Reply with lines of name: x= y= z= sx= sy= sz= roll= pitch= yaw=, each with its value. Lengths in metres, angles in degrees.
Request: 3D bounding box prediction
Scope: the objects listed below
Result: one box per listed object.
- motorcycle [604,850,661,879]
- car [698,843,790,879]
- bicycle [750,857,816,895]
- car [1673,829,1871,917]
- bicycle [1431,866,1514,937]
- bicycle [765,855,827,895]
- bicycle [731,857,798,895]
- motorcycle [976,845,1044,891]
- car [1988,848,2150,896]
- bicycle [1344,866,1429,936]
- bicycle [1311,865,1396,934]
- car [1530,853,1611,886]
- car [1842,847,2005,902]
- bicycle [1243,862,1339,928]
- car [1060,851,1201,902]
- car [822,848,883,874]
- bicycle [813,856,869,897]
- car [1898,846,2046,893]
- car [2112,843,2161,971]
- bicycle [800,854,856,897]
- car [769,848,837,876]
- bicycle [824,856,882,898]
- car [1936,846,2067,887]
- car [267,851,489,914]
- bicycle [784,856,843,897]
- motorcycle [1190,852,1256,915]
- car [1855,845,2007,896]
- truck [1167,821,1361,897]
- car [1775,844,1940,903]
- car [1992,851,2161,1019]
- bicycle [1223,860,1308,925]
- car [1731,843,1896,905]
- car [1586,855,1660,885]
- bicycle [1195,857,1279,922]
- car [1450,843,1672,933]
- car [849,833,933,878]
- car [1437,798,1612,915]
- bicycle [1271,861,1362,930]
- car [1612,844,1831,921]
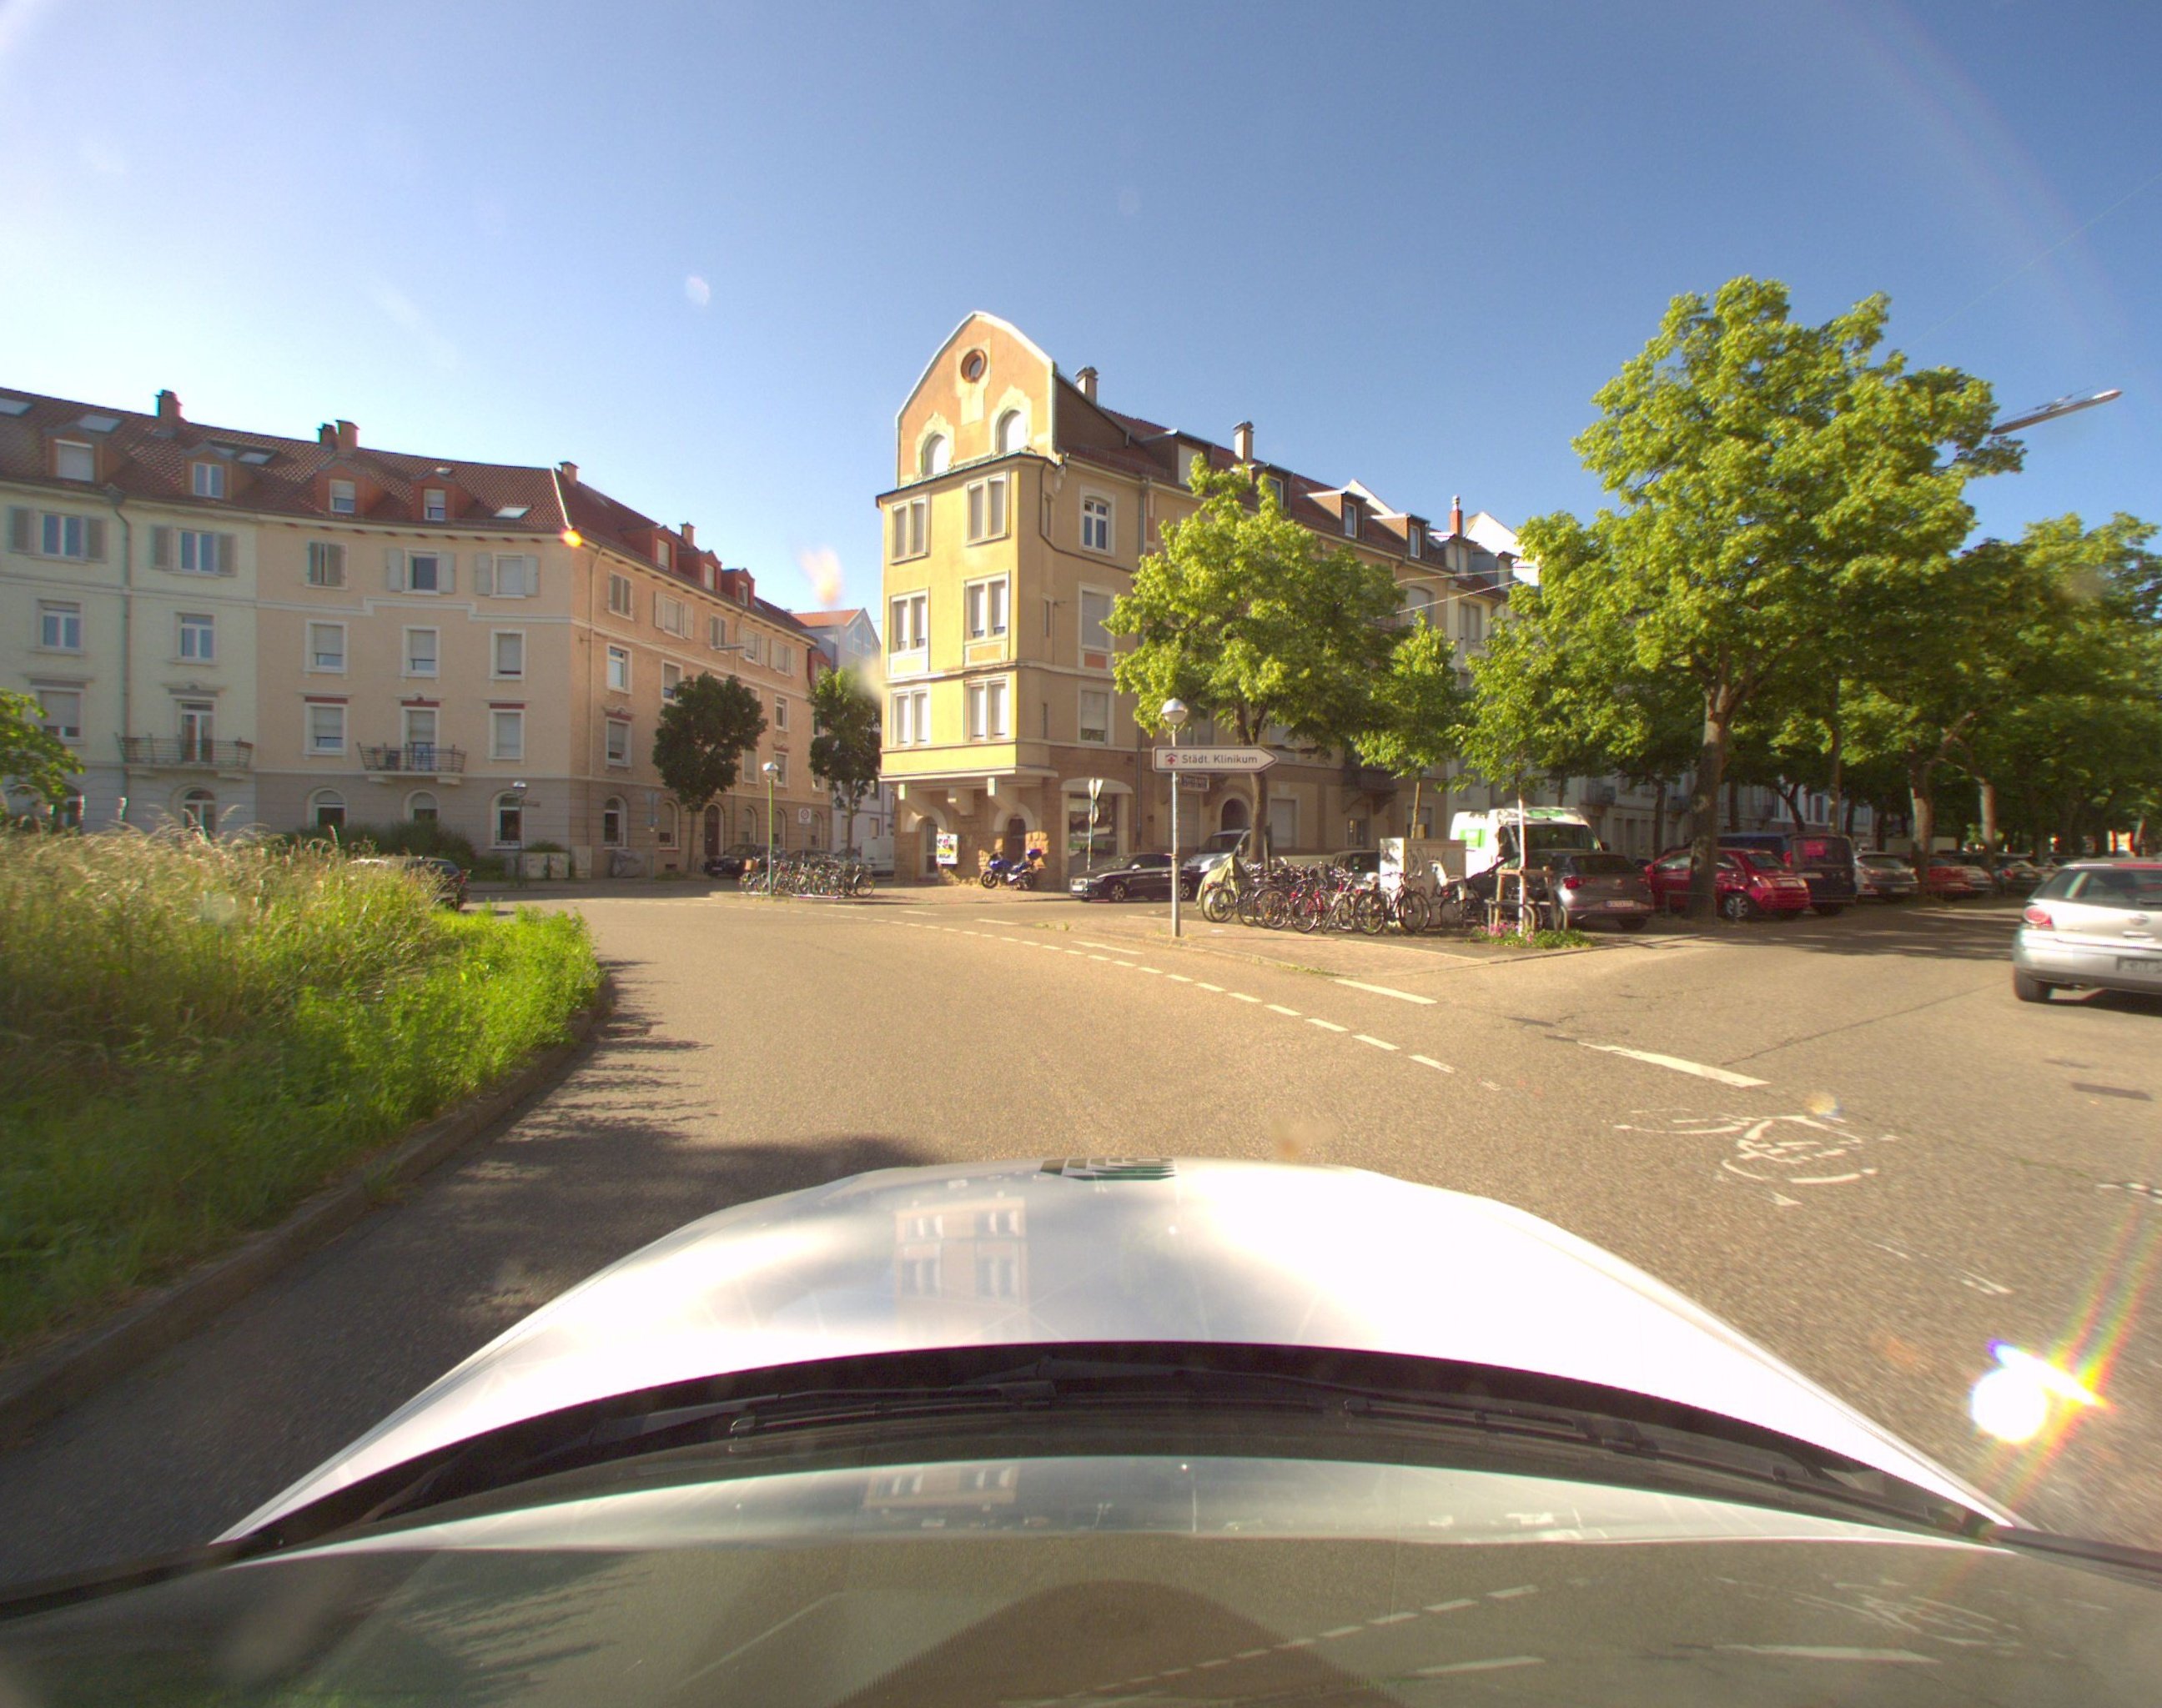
motorcycle: x=-19.974 y=0.457 z=36.334 sx=0.933 sy=1.220 sz=2.162 roll=2 pitch=1 yaw=15
car: x=-15.974 y=0.311 z=38.862 sx=1.890 sy=1.642 sz=4.361 roll=0 pitch=0 yaw=11
bicycle: x=-9.044 y=0.648 z=24.771 sx=0.529 sy=1.090 sz=1.891 roll=0 pitch=0 yaw=37
car: x=15.971 y=0.355 z=19.059 sx=1.678 sy=1.864 sz=3.382 roll=1 pitch=1 yaw=-2
bicycle: x=6.533 y=0.766 z=13.566 sx=1.530 sy=1.086 sz=0.415 roll=-1 pitch=2 yaw=-28
bicycle: x=-8.524 y=0.611 z=24.412 sx=0.630 sy=1.145 sz=1.707 roll=0 pitch=0 yaw=37
bicycle: x=-9.715 y=0.671 z=25.082 sx=0.690 sy=1.130 sz=1.879 roll=-1 pitch=-1 yaw=31
motorcycle: x=-2.362 y=0.439 z=27.021 sx=2.222 sy=1.411 sz=0.704 roll=2 pitch=2 yaw=28
car: x=33.854 y=0.571 z=28.052 sx=1.673 sy=1.470 sz=3.391 roll=1 pitch=1 yaw=7
bicycle: x=5.123 y=0.762 z=13.615 sx=1.530 sy=1.086 sz=0.415 roll=-1 pitch=2 yaw=-28
bicycle: x=4.647 y=0.754 z=13.861 sx=1.578 sy=1.089 sz=0.415 roll=-1 pitch=2 yaw=-28
car: x=21.871 y=0.682 z=36.354 sx=3.938 sy=1.390 sz=1.670 roll=0 pitch=-1 yaw=-35
car: x=25.380 y=0.556 z=24.708 sx=1.673 sy=1.470 sz=3.391 roll=1 pitch=1 yaw=7
bicycle: x=3.823 y=0.715 z=14.764 sx=1.735 sy=1.088 sz=0.651 roll=-1 pitch=2 yaw=-30
car: x=1.489 y=0.611 z=23.862 sx=3.938 sy=1.390 sz=1.670 roll=0 pitch=-1 yaw=-35
car: x=-13.704 y=0.387 z=49.079 sx=1.684 sy=1.486 sz=4.019 roll=0 pitch=0 yaw=15
bicycle: x=-6.904 y=0.635 z=23.490 sx=0.477 sy=1.123 sz=1.707 roll=0 pitch=0 yaw=29
car: x=31.068 y=0.495 z=28.546 sx=1.673 sy=1.470 sz=3.391 roll=1 pitch=1 yaw=7
car: x=15.313 y=0.662 z=10.701 sx=4.309 sy=1.562 sz=1.672 roll=0 pitch=2 yaw=-32
bicycle: x=-7.329 y=0.605 z=23.653 sx=0.446 sy=1.191 sz=1.707 roll=0 pitch=0 yaw=29
car: x=-14.883 y=0.415 z=43.819 sx=1.684 sy=1.412 sz=3.678 roll=0 pitch=0 yaw=15
bicycle: x=-6.507 y=0.635 z=23.283 sx=0.477 sy=1.123 sz=1.730 roll=0 pitch=0 yaw=31
car: x=36.892 y=0.448 z=32.758 sx=1.673 sy=1.470 sz=3.391 roll=1 pitch=1 yaw=7
car: x=-17.210 y=0.662 z=20.064 sx=3.968 sy=1.419 sz=1.873 roll=0 pitch=1 yaw=4
bicycle: x=-7.826 y=0.628 z=23.888 sx=0.609 sy=1.145 sz=1.707 roll=0 pitch=0 yaw=29
motorcycle: x=3.115 y=0.615 z=18.017 sx=0.539 sy=1.270 sz=1.697 roll=-1 pitch=2 yaw=-26
car: x=27.741 y=0.491 z=26.737 sx=1.673 sy=1.470 sz=3.391 roll=1 pitch=1 yaw=7
truck: x=6.178 y=0.145 z=27.076 sx=6.642 sy=2.292 sz=2.118 roll=0 pitch=-1 yaw=-31
car: x=21.683 y=0.479 z=22.930 sx=1.673 sy=1.470 sz=3.391 roll=1 pitch=1 yaw=7
car: x=10.917 y=0.713 z=8.215 sx=3.558 sy=1.446 sz=1.672 roll=0 pitch=2 yaw=-32
bicycle: x=3.495 y=0.704 z=15.390 sx=1.607 sy=1.126 sz=0.584 roll=-1 pitch=2 yaw=-30
car: x=19.680 y=0.472 z=22.088 sx=1.673 sy=1.470 sz=3.391 roll=1 pitch=1 yaw=7
car: x=26.495 y=0.741 z=39.796 sx=3.938 sy=1.390 sz=1.670 roll=0 pitch=-1 yaw=-35
bicycle: x=3.078 y=0.680 z=16.049 sx=1.685 sy=1.192 sz=0.533 roll=-1 pitch=2 yaw=-30
car: x=8.982 y=0.551 z=15.669 sx=1.680 sy=1.446 sz=3.915 roll=1 pitch=1 yaw=-6
car: x=-8.564 y=0.068 z=37.170 sx=2.122 sy=1.909 sz=4.573 roll=0 pitch=0 yaw=9
car: x=11.375 y=-0.031 z=21.526 sx=2.084 sy=2.600 sz=6.395 roll=1 pitch=1 yaw=10
bicycle: x=4.107 y=0.701 z=14.177 sx=1.654 sy=1.102 sz=0.495 roll=-1 pitch=2 yaw=-29
car: x=13.718 y=0.543 z=17.680 sx=1.687 sy=1.446 sz=3.365 roll=0 pitch=2 yaw=-17
